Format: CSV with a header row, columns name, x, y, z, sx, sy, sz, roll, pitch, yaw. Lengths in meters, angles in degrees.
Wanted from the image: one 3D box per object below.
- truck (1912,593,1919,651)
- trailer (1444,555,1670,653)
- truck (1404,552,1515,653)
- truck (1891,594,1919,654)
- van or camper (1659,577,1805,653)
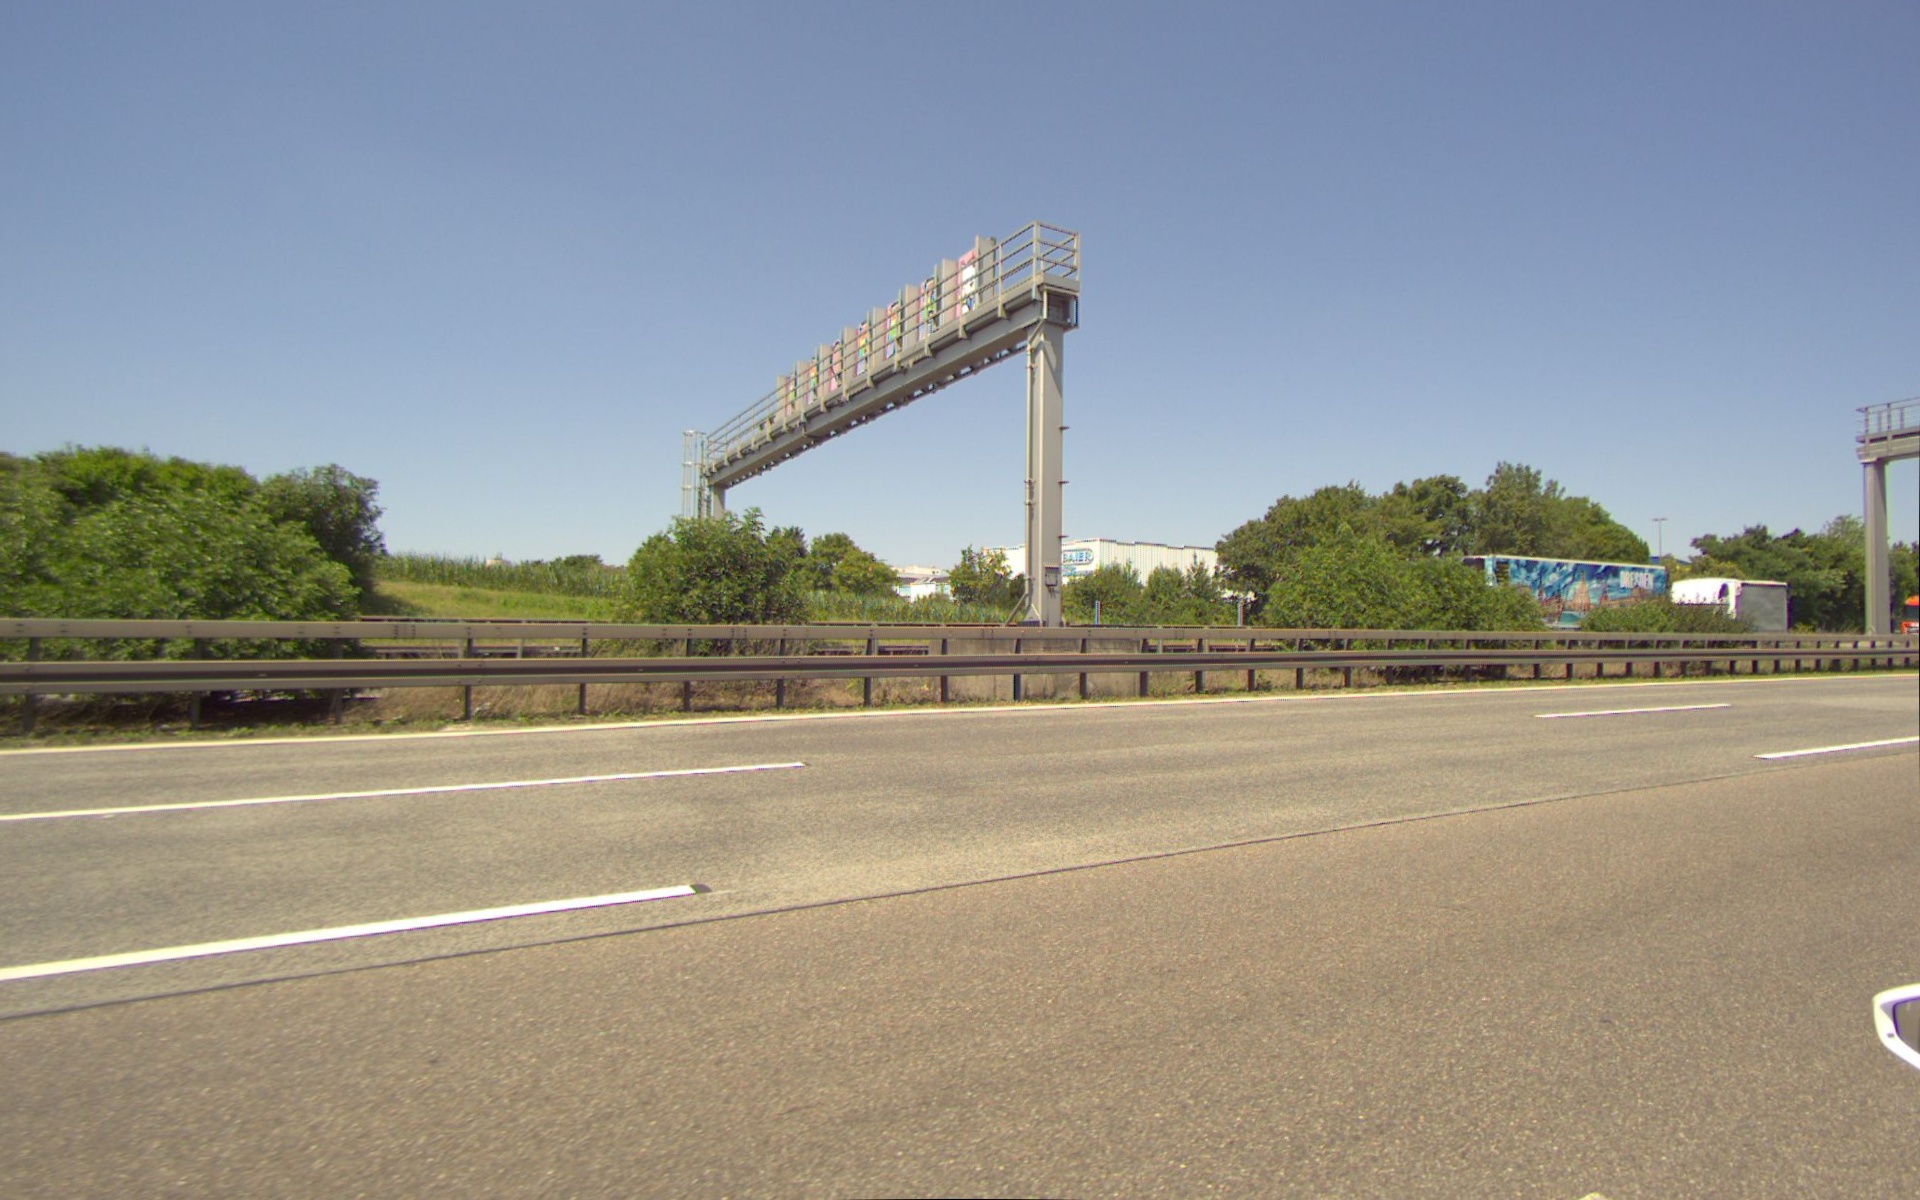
name,x,y,z,sx,sy,sz,roll,pitch,yaw
truck,69.317,1.594,68.486,12.174,3.844,2.742,1,0,-28
trailer,27.030,0.288,45.013,13.831,3.975,1.985,1,0,-29
truck,20.600,0.131,41.405,4.288,3.948,1.985,1,0,-29
truck,63.563,1.581,65.420,5.038,3.844,2.742,1,0,-28
van or camper,35.174,0.711,45.658,7.729,3.263,2.463,1,0,-30
